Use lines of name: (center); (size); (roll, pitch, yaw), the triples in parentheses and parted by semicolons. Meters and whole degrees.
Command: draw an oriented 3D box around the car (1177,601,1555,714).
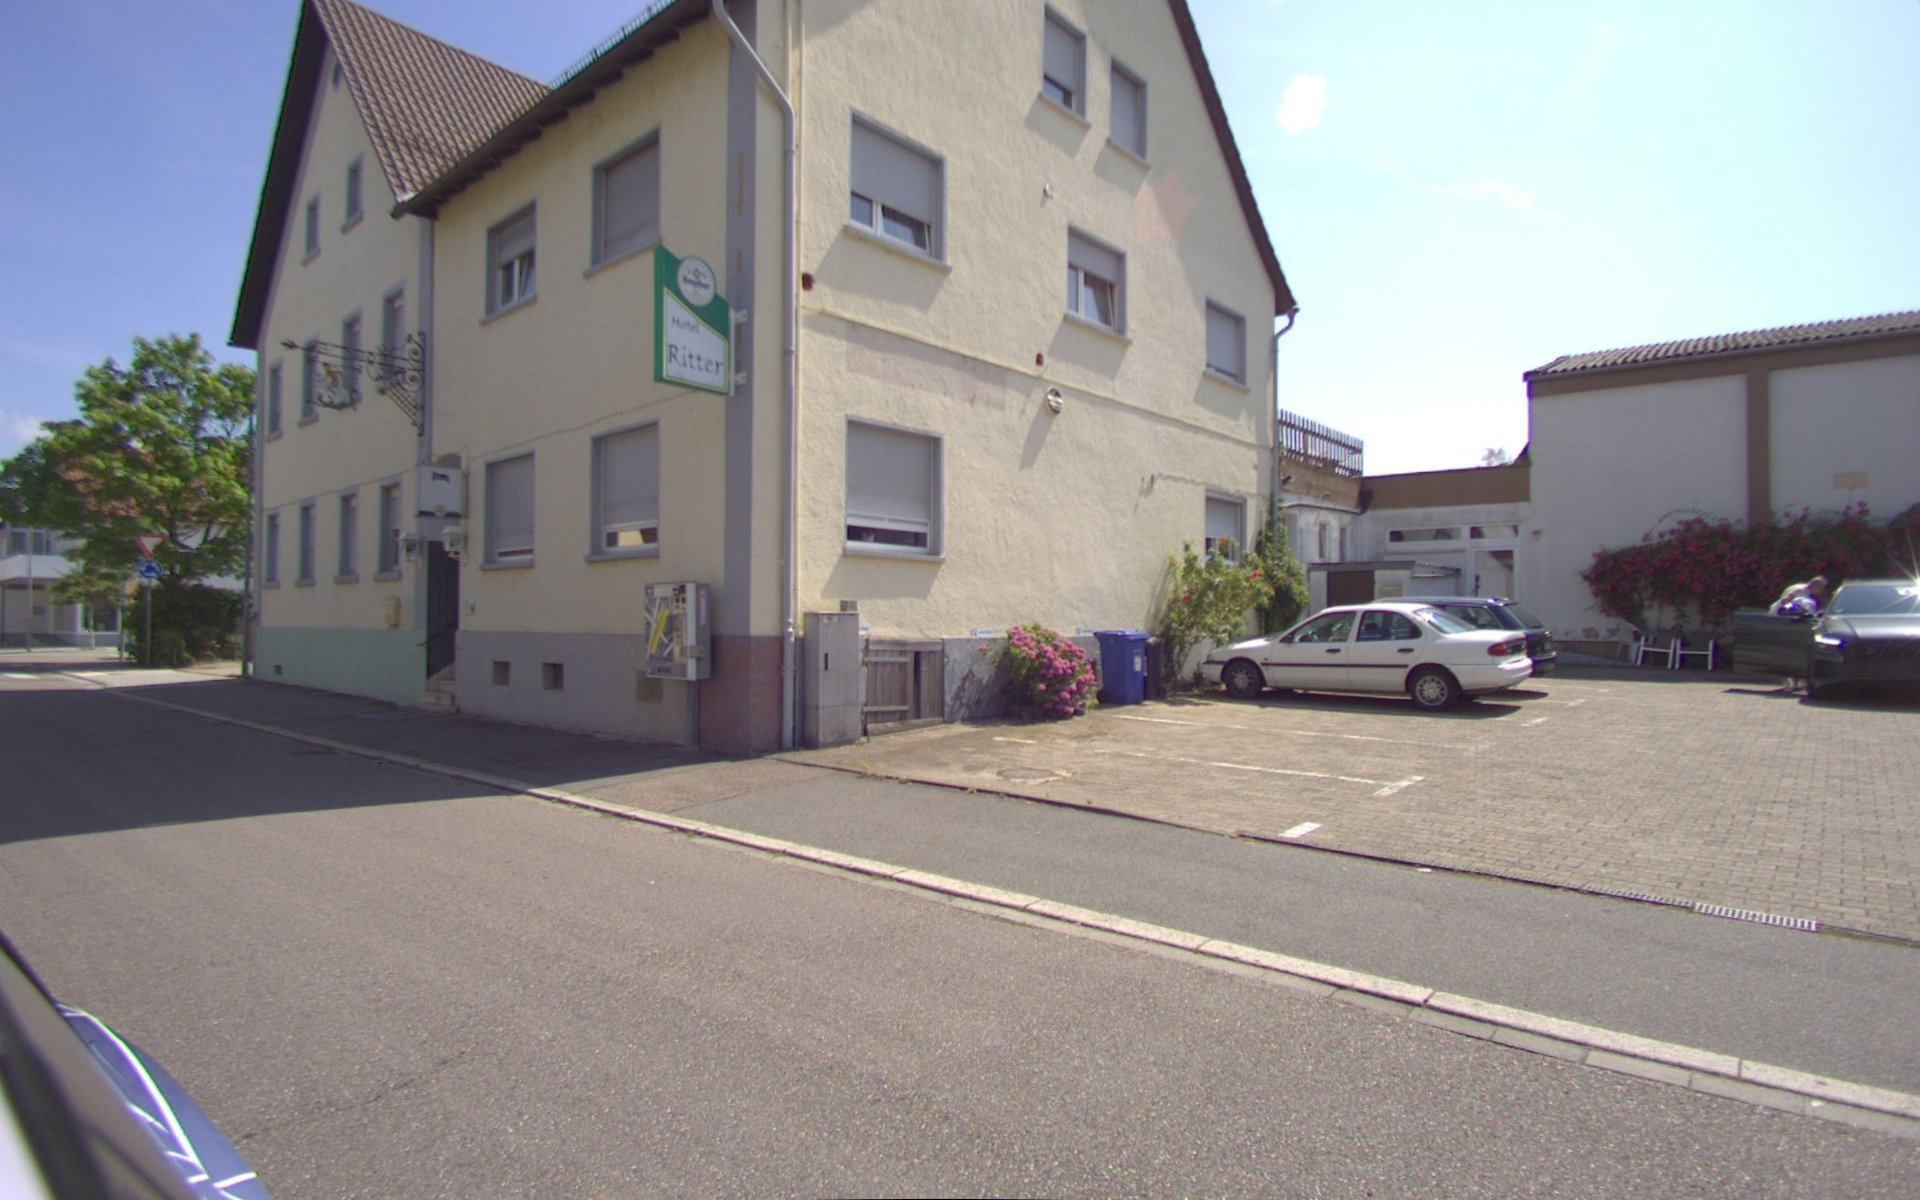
car: (5.772, 0.749, 14.834); (4.828, 1.390, 1.805); (-1, -1, 42)

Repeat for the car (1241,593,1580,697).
car: (7.313, 0.680, 16.789); (4.828, 1.492, 1.805); (-1, -1, 42)

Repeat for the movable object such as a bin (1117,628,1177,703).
movable object such as a bin: (2.825, 0.978, 15.272); (0.680, 1.080, 0.571); (-1, -1, 42)

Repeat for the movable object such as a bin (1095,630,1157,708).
movable object such as a bin: (2.407, 0.984, 14.700); (0.680, 1.080, 0.571); (-1, -1, 42)

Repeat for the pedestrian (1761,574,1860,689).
pedestrian: (12.734, 0.460, 15.171); (0.817, 1.670, 0.787); (-1, -1, -16)

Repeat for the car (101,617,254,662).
car: (-30.320, 1.493, 39.391); (1.798, 1.631, 4.409); (-1, -1, 25)

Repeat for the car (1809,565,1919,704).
car: (13.468, 0.434, 14.432); (2.036, 1.738, 4.632); (-1, -1, 40)
